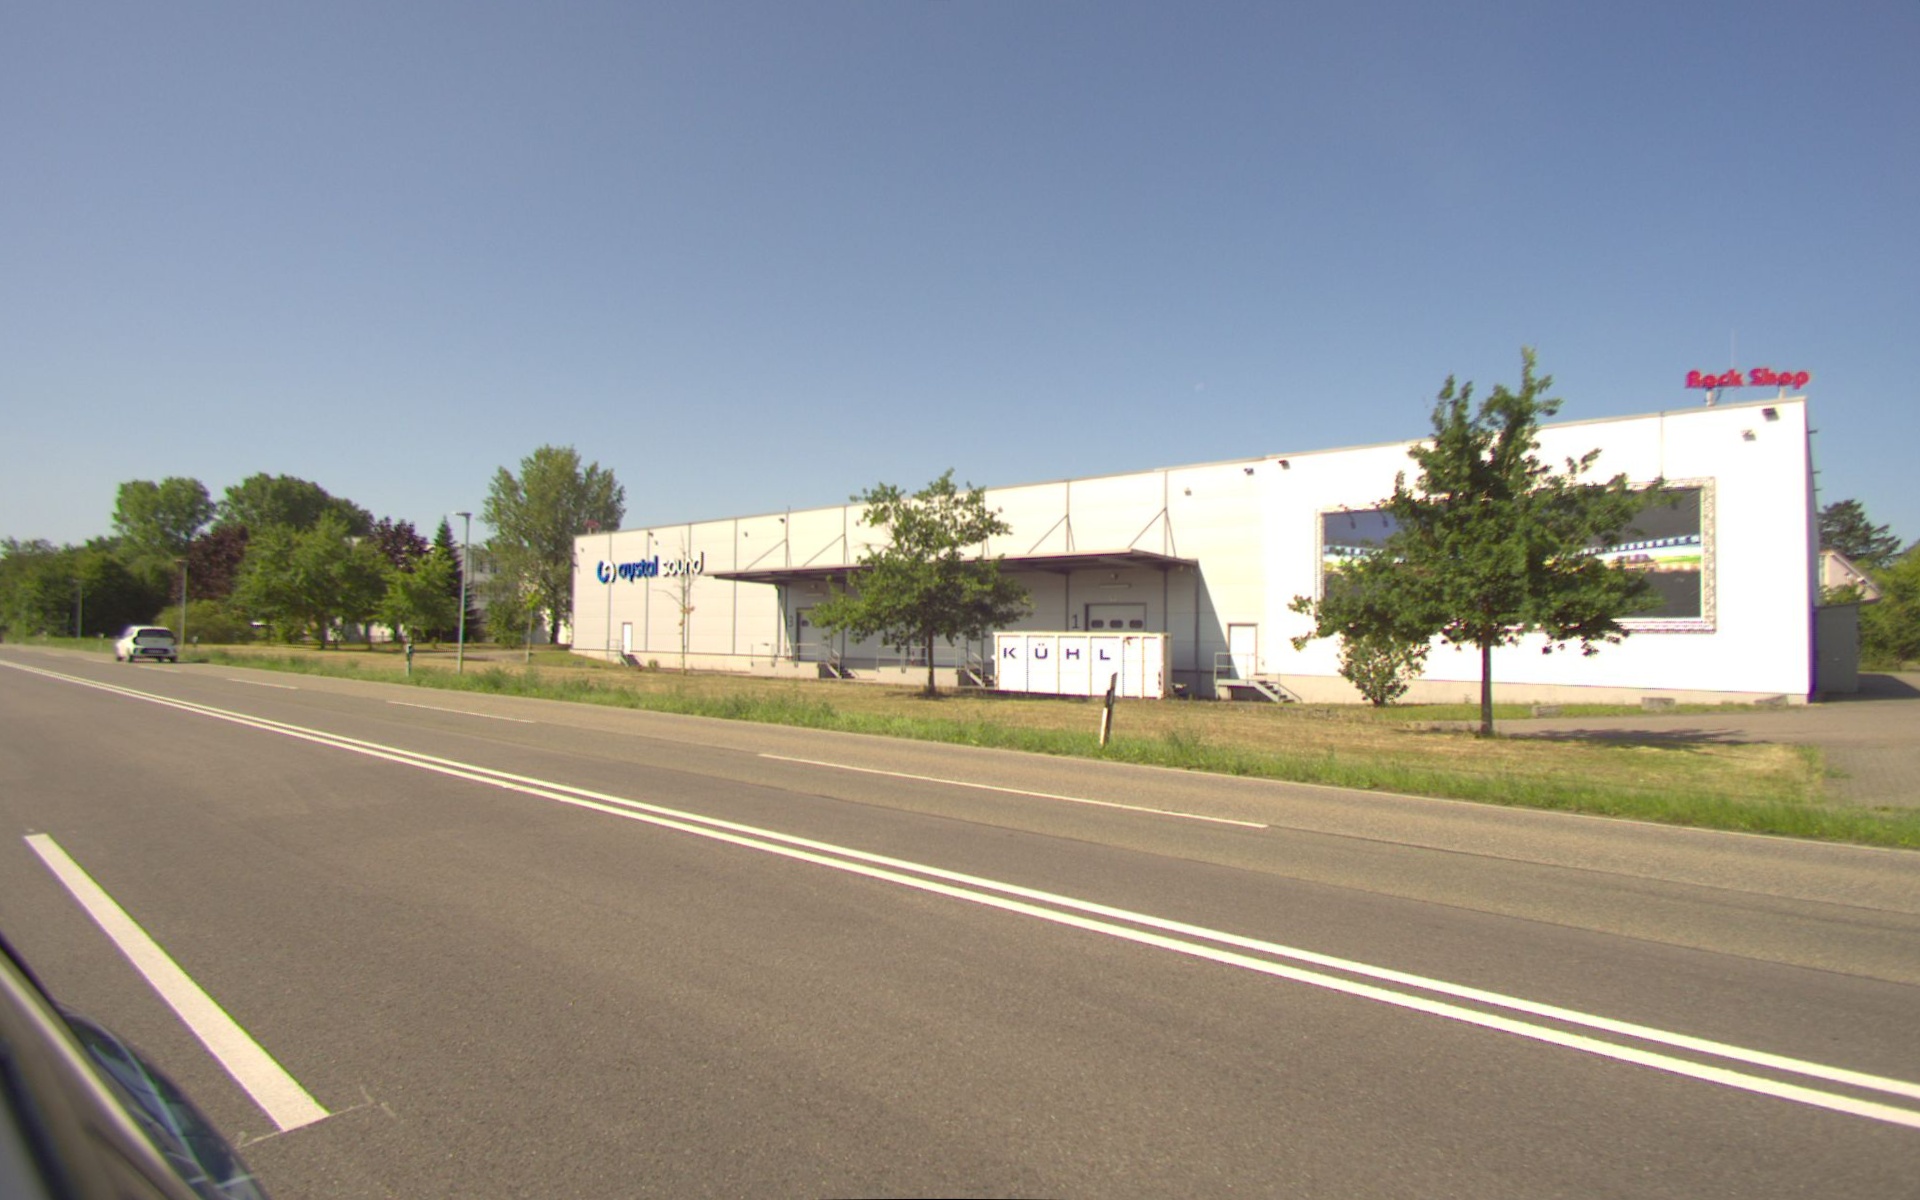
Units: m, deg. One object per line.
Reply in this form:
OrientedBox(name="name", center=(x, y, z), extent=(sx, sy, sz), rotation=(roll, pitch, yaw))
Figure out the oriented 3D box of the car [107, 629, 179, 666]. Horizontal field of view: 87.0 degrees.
OrientedBox(name="car", center=(-34.056, 1.964, 42.166), extent=(3.734, 1.448, 1.641), rotation=(-1, -5, 41))
